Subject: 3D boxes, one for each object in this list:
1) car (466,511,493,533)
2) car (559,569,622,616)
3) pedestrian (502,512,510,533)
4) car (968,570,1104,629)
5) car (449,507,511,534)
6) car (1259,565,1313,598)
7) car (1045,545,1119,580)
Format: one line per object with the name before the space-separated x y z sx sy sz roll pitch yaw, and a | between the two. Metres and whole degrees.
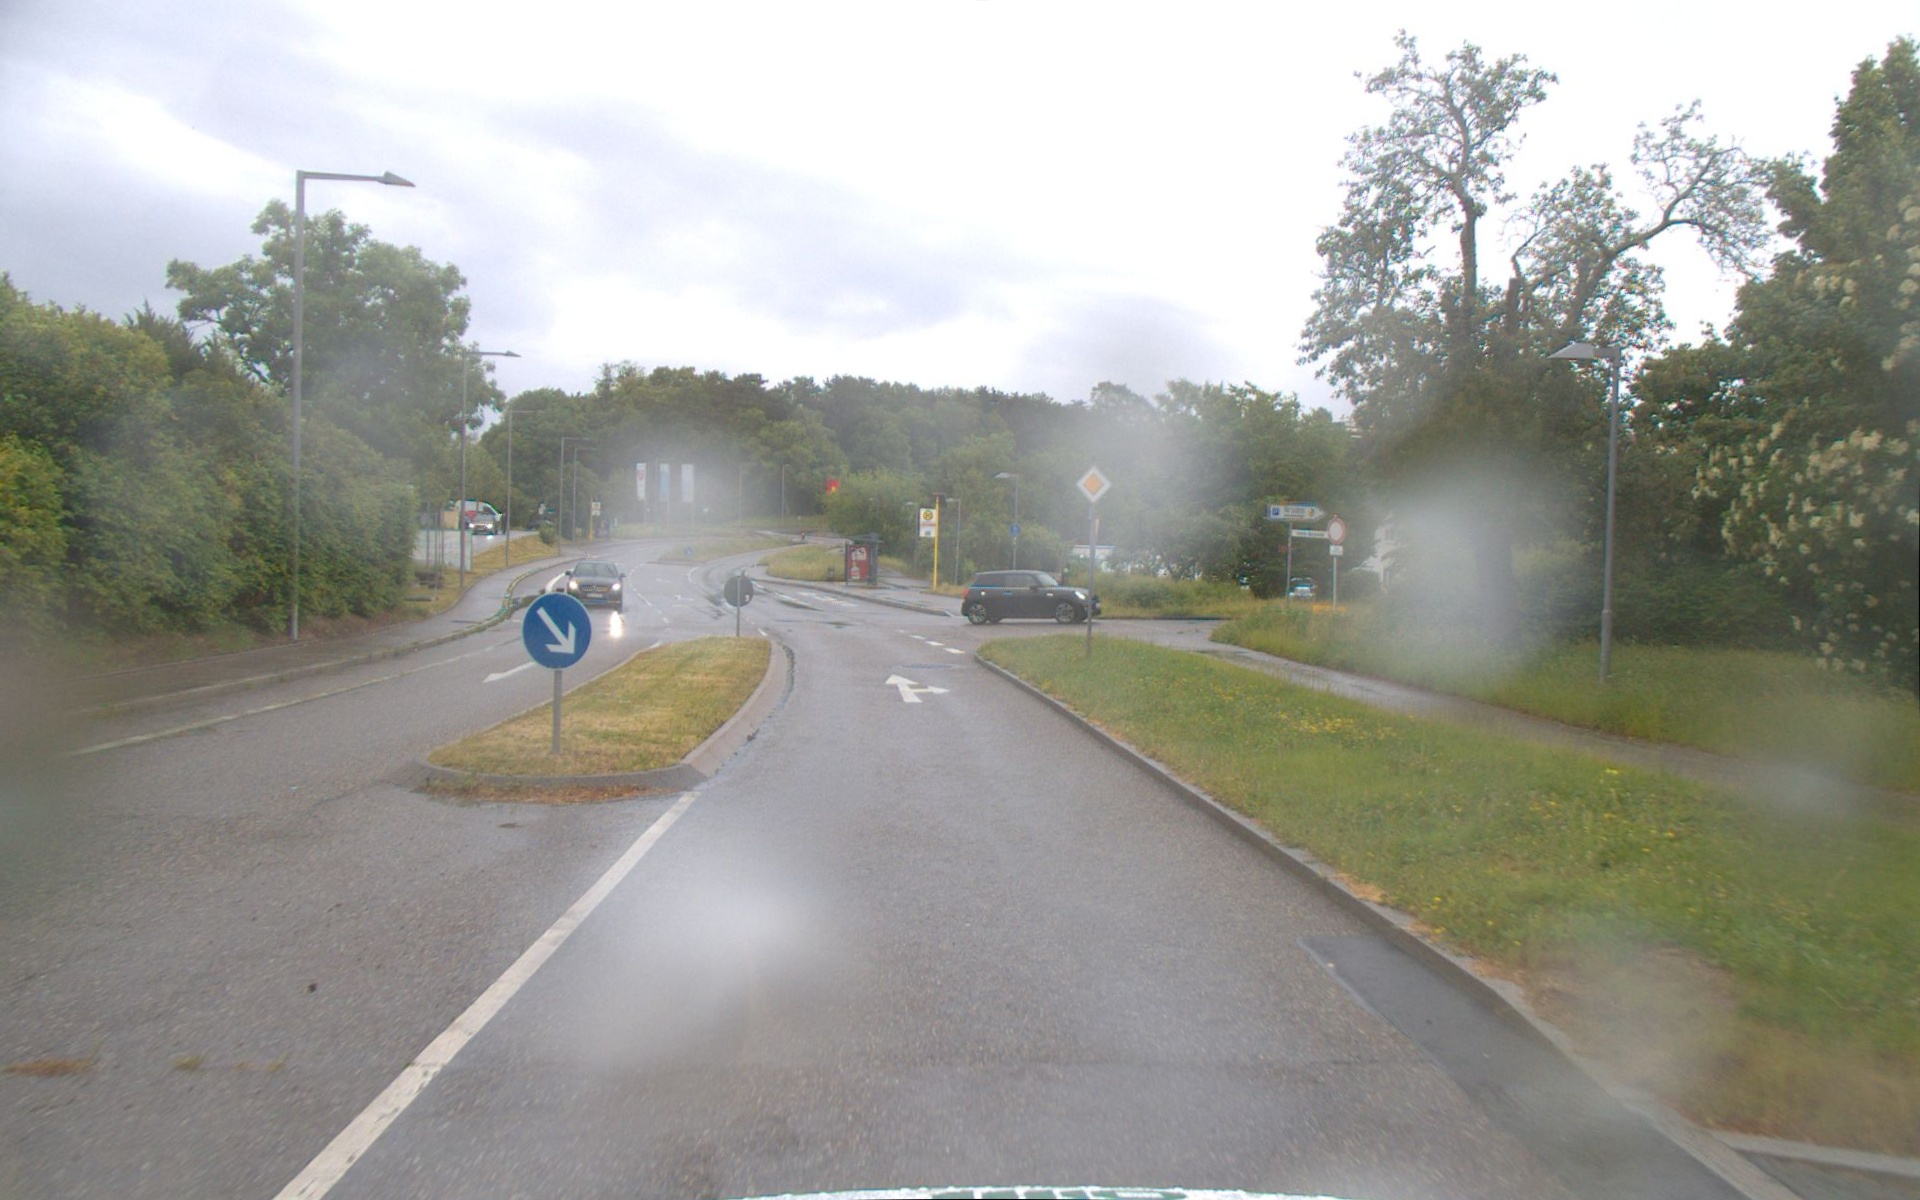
car | -37.713 -6.106 129.804 1.665 1.648 3.868 0 1 -23
car | -12.172 -0.286 54.682 1.933 1.438 4.403 -1 2 -12
pedestrian | -36.296 -6.169 132.164 0.558 1.648 0.633 0 1 -23
car | 2.086 -0.021 44.964 3.447 1.379 1.461 3 1 11
car | -46.464 -7.722 160.271 5.576 2.446 1.994 1 1 -12
car | 16.687 -0.959 84.729 1.891 1.534 4.000 0 3 -1
car | 6.483 -1.969 87.918 3.357 1.720 1.991 0 -3 38
